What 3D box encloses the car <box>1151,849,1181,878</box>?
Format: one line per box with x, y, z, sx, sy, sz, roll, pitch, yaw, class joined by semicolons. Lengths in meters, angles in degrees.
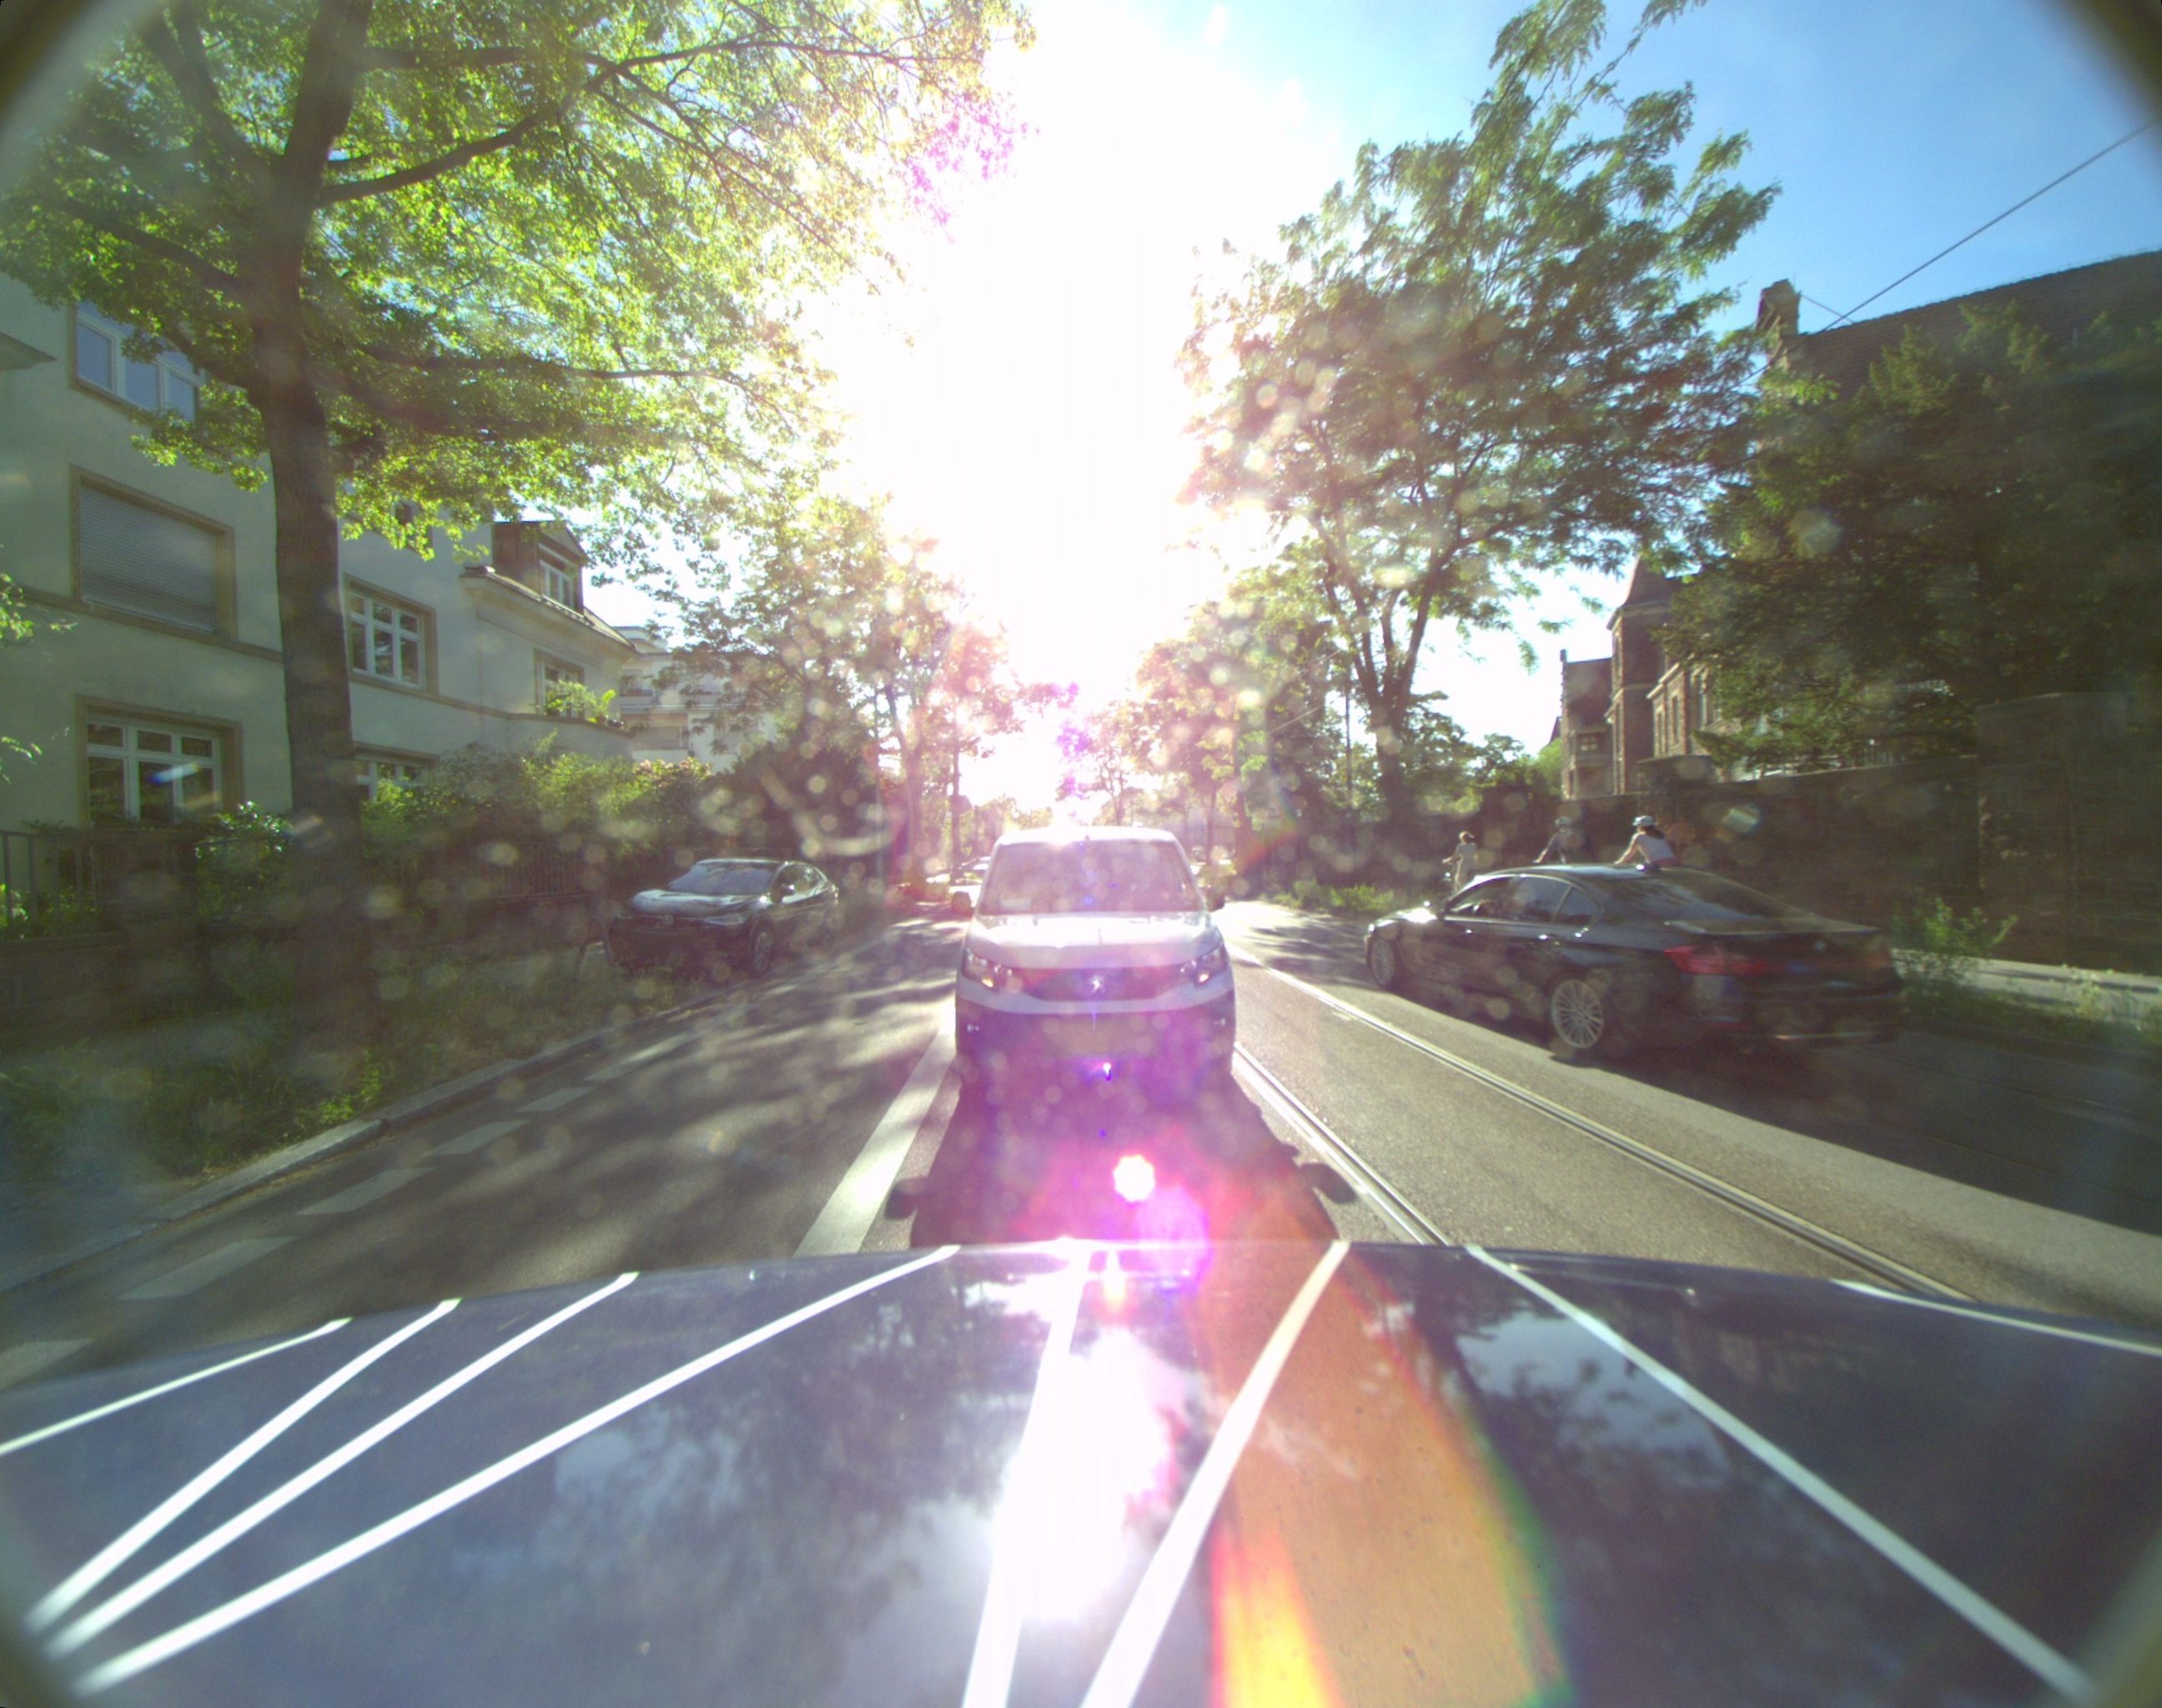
5.520;0.574;49.635;1.831;1.800;4.001;-1;1;6;car

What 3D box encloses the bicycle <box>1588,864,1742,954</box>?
8.931;0.789;11.754;0.733;1.184;2.087;-2;1;-1;bicycle

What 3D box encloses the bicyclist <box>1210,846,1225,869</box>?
7.862;0.206;43.872;0.684;1.277;0.871;-2;1;1;bicyclist

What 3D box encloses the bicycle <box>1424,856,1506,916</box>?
8.482;0.671;16.883;0.747;1.184;2.088;-2;1;1;bicycle

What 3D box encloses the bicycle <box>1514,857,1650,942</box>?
7.875;0.664;12.079;0.774;1.184;2.102;-2;1;1;bicycle

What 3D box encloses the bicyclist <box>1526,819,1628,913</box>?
7.856;0.173;12.100;0.768;1.383;1.272;-2;1;1;bicyclist

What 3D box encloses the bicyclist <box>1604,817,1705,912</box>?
8.903;0.148;11.831;0.734;1.383;1.060;-2;1;-1;bicyclist

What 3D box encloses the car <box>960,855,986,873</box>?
-10.001;0.906;70.766;1.741;1.434;3.999;-2;1;1;car

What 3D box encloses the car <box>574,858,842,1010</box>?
-5.266;1.002;11.479;1.999;1.733;4.169;-2;1;-2;car

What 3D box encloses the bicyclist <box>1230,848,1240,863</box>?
11.671;0.131;57.470;0.684;1.106;0.694;-2;1;8;bicyclist

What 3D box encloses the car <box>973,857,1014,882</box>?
-5.166;0.889;45.302;1.719;1.332;3.918;-2;1;3;car

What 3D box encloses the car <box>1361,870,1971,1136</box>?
4.320;0.916;6.652;1.741;1.414;4.257;-2;0;-7;car

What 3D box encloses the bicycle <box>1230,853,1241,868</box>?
11.700;0.472;57.603;0.684;1.106;1.737;-2;1;8;bicycle

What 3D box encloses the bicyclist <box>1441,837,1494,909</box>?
8.472;0.402;16.669;0.744;1.526;0.751;-2;1;1;bicyclist

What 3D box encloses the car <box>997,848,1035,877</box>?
-4.380;0.532;51.668;1.904;1.819;4.248;-2;1;3;car

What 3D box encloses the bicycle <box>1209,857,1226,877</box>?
7.883;0.719;43.903;0.684;1.072;1.736;-2;1;1;bicycle

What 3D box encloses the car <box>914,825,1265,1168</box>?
0.015;0.744;6.258;1.832;1.788;4.333;-2;1;-1;car
